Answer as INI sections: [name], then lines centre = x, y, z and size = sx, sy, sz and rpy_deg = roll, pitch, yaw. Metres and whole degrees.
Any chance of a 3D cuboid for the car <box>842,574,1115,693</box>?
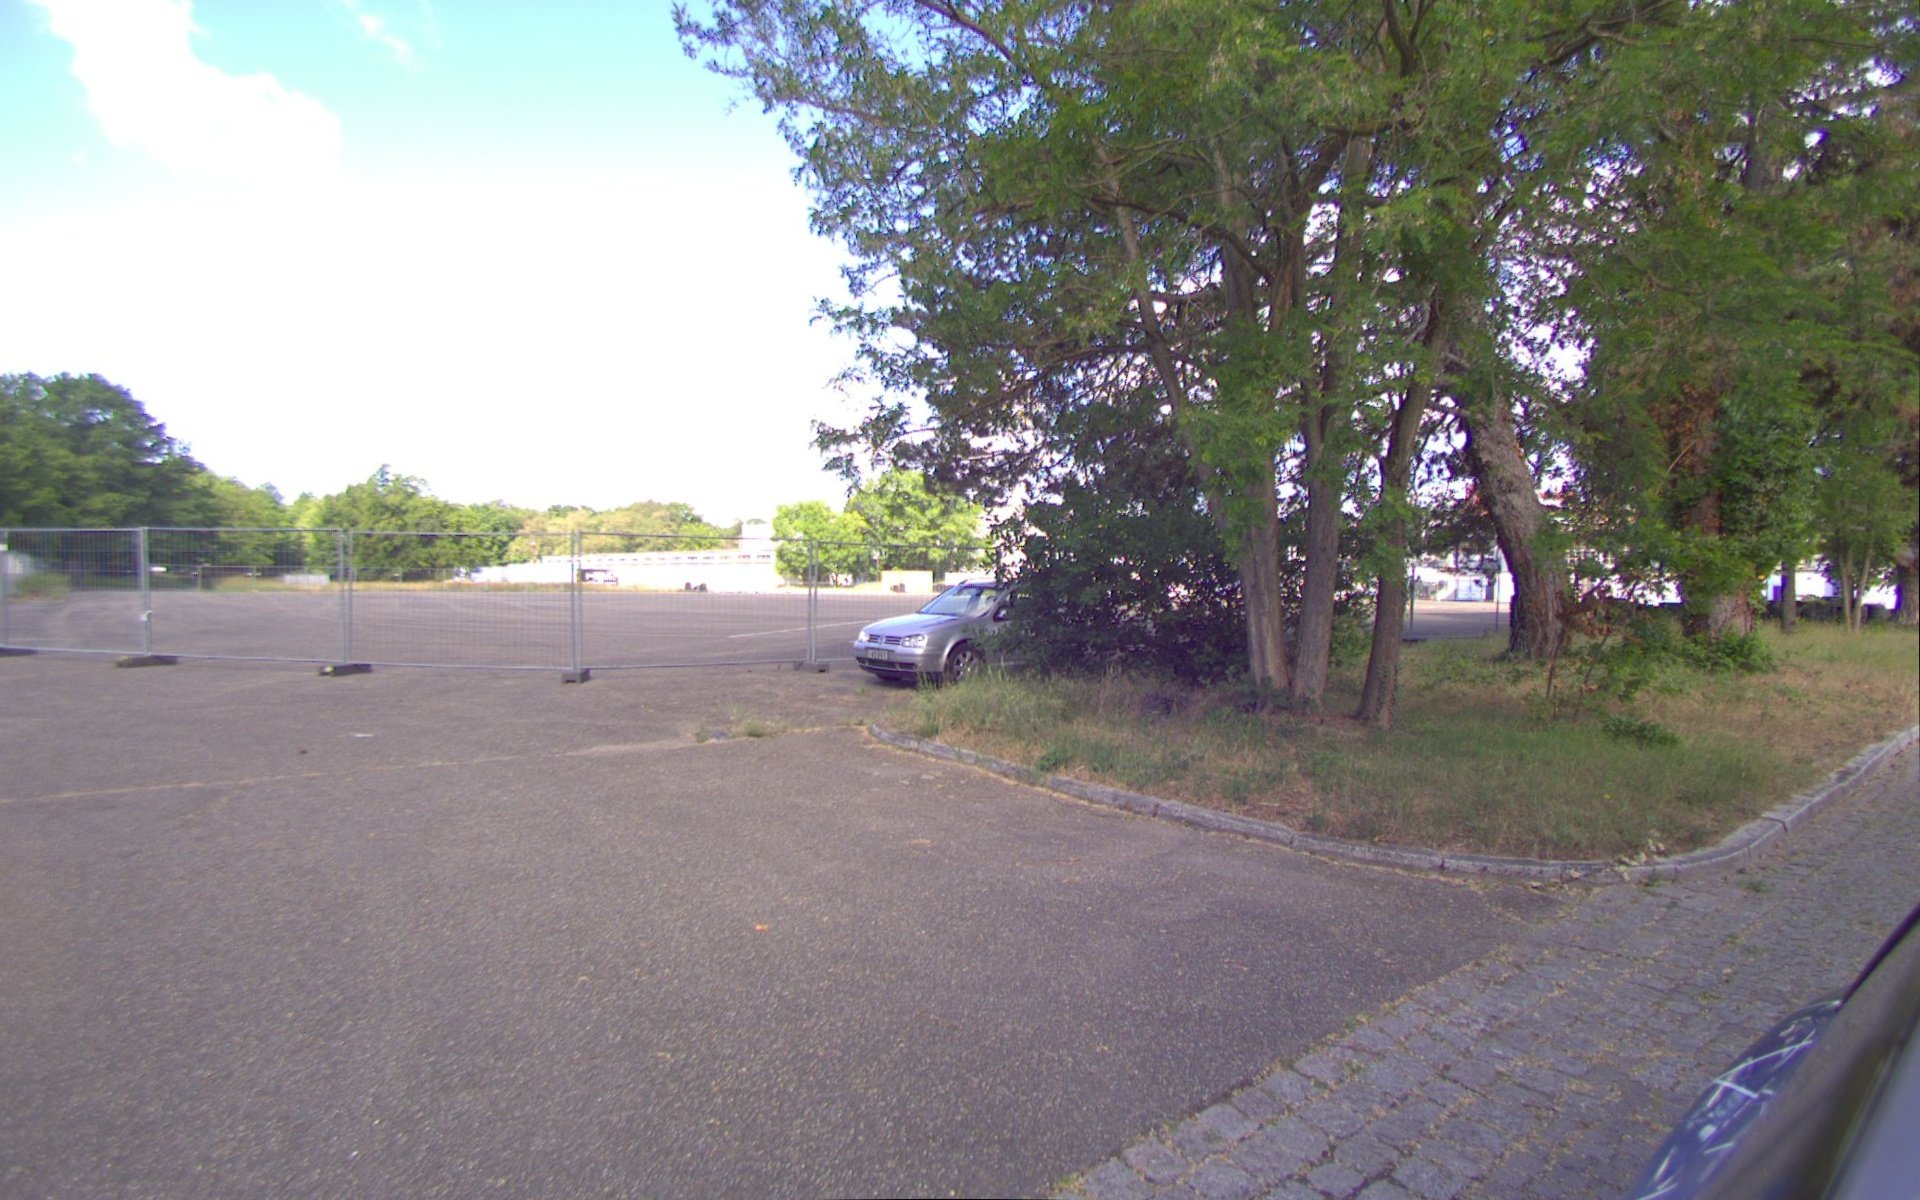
[car]
centre = 0.369, 0.378, 14.410
size = 3.920, 1.462, 1.576
rpy_deg = -1, 2, -44
